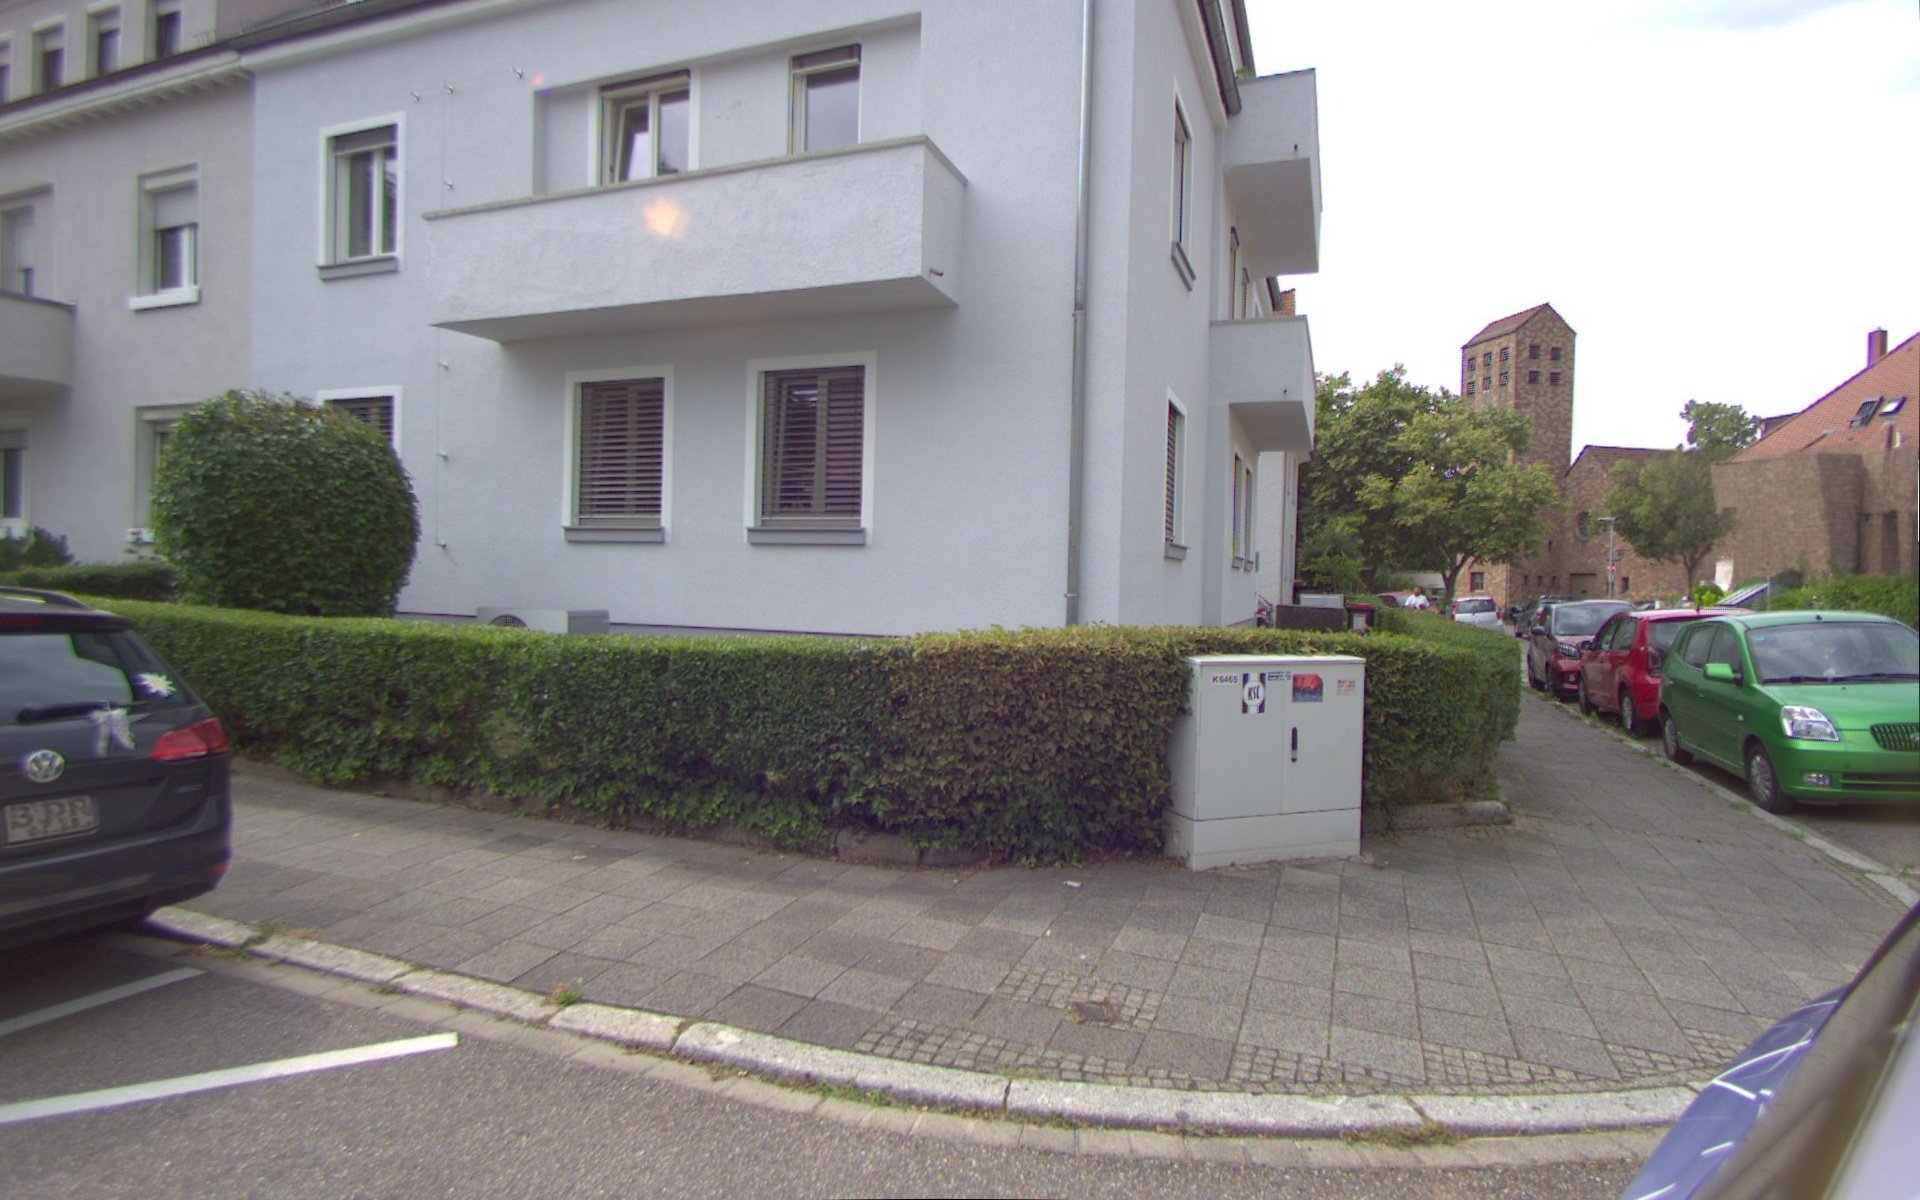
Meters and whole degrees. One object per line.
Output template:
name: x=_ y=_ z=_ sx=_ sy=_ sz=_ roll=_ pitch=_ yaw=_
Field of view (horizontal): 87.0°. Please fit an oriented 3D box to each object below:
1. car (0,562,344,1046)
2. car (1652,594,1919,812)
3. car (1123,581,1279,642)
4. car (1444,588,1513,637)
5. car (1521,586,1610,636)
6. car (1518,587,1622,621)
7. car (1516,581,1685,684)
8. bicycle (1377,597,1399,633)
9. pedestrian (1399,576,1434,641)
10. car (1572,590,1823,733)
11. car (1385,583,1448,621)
car: x=-4.844 y=0.577 z=4.076 sx=4.121 sy=1.490 sz=1.849 roll=2 pitch=1 yaw=19
car: x=7.334 y=0.712 z=8.533 sx=1.630 sy=1.440 sz=3.458 roll=-2 pitch=0 yaw=21
car: x=6.685 y=0.266 z=28.019 sx=3.955 sy=1.482 sz=1.985 roll=2 pitch=1 yaw=23
car: x=17.253 y=0.372 z=33.802 sx=1.630 sy=1.514 sz=3.458 roll=-2 pitch=0 yaw=21
car: x=20.583 y=0.315 z=34.579 sx=1.833 sy=1.499 sz=4.014 roll=4 pitch=2 yaw=21
car: x=30.769 y=0.171 z=51.173 sx=4.178 sy=1.482 sz=1.673 roll=2 pitch=3 yaw=22
car: x=10.472 y=0.469 z=16.804 sx=1.630 sy=1.514 sz=3.458 roll=-2 pitch=0 yaw=21
bicycle: x=13.976 y=0.475 z=33.057 sx=0.417 sy=1.117 sz=2.104 roll=2 pitch=1 yaw=17
pedestrian: x=13.757 y=0.229 z=30.520 sx=0.874 sy=1.902 sz=1.071 roll=2 pitch=1 yaw=22
car: x=9.044 y=0.664 z=12.740 sx=1.630 sy=1.514 sz=3.458 roll=-2 pitch=0 yaw=21
car: x=19.342 y=0.059 z=43.017 sx=1.625 sy=1.514 sz=3.469 roll=-2 pitch=0 yaw=11
